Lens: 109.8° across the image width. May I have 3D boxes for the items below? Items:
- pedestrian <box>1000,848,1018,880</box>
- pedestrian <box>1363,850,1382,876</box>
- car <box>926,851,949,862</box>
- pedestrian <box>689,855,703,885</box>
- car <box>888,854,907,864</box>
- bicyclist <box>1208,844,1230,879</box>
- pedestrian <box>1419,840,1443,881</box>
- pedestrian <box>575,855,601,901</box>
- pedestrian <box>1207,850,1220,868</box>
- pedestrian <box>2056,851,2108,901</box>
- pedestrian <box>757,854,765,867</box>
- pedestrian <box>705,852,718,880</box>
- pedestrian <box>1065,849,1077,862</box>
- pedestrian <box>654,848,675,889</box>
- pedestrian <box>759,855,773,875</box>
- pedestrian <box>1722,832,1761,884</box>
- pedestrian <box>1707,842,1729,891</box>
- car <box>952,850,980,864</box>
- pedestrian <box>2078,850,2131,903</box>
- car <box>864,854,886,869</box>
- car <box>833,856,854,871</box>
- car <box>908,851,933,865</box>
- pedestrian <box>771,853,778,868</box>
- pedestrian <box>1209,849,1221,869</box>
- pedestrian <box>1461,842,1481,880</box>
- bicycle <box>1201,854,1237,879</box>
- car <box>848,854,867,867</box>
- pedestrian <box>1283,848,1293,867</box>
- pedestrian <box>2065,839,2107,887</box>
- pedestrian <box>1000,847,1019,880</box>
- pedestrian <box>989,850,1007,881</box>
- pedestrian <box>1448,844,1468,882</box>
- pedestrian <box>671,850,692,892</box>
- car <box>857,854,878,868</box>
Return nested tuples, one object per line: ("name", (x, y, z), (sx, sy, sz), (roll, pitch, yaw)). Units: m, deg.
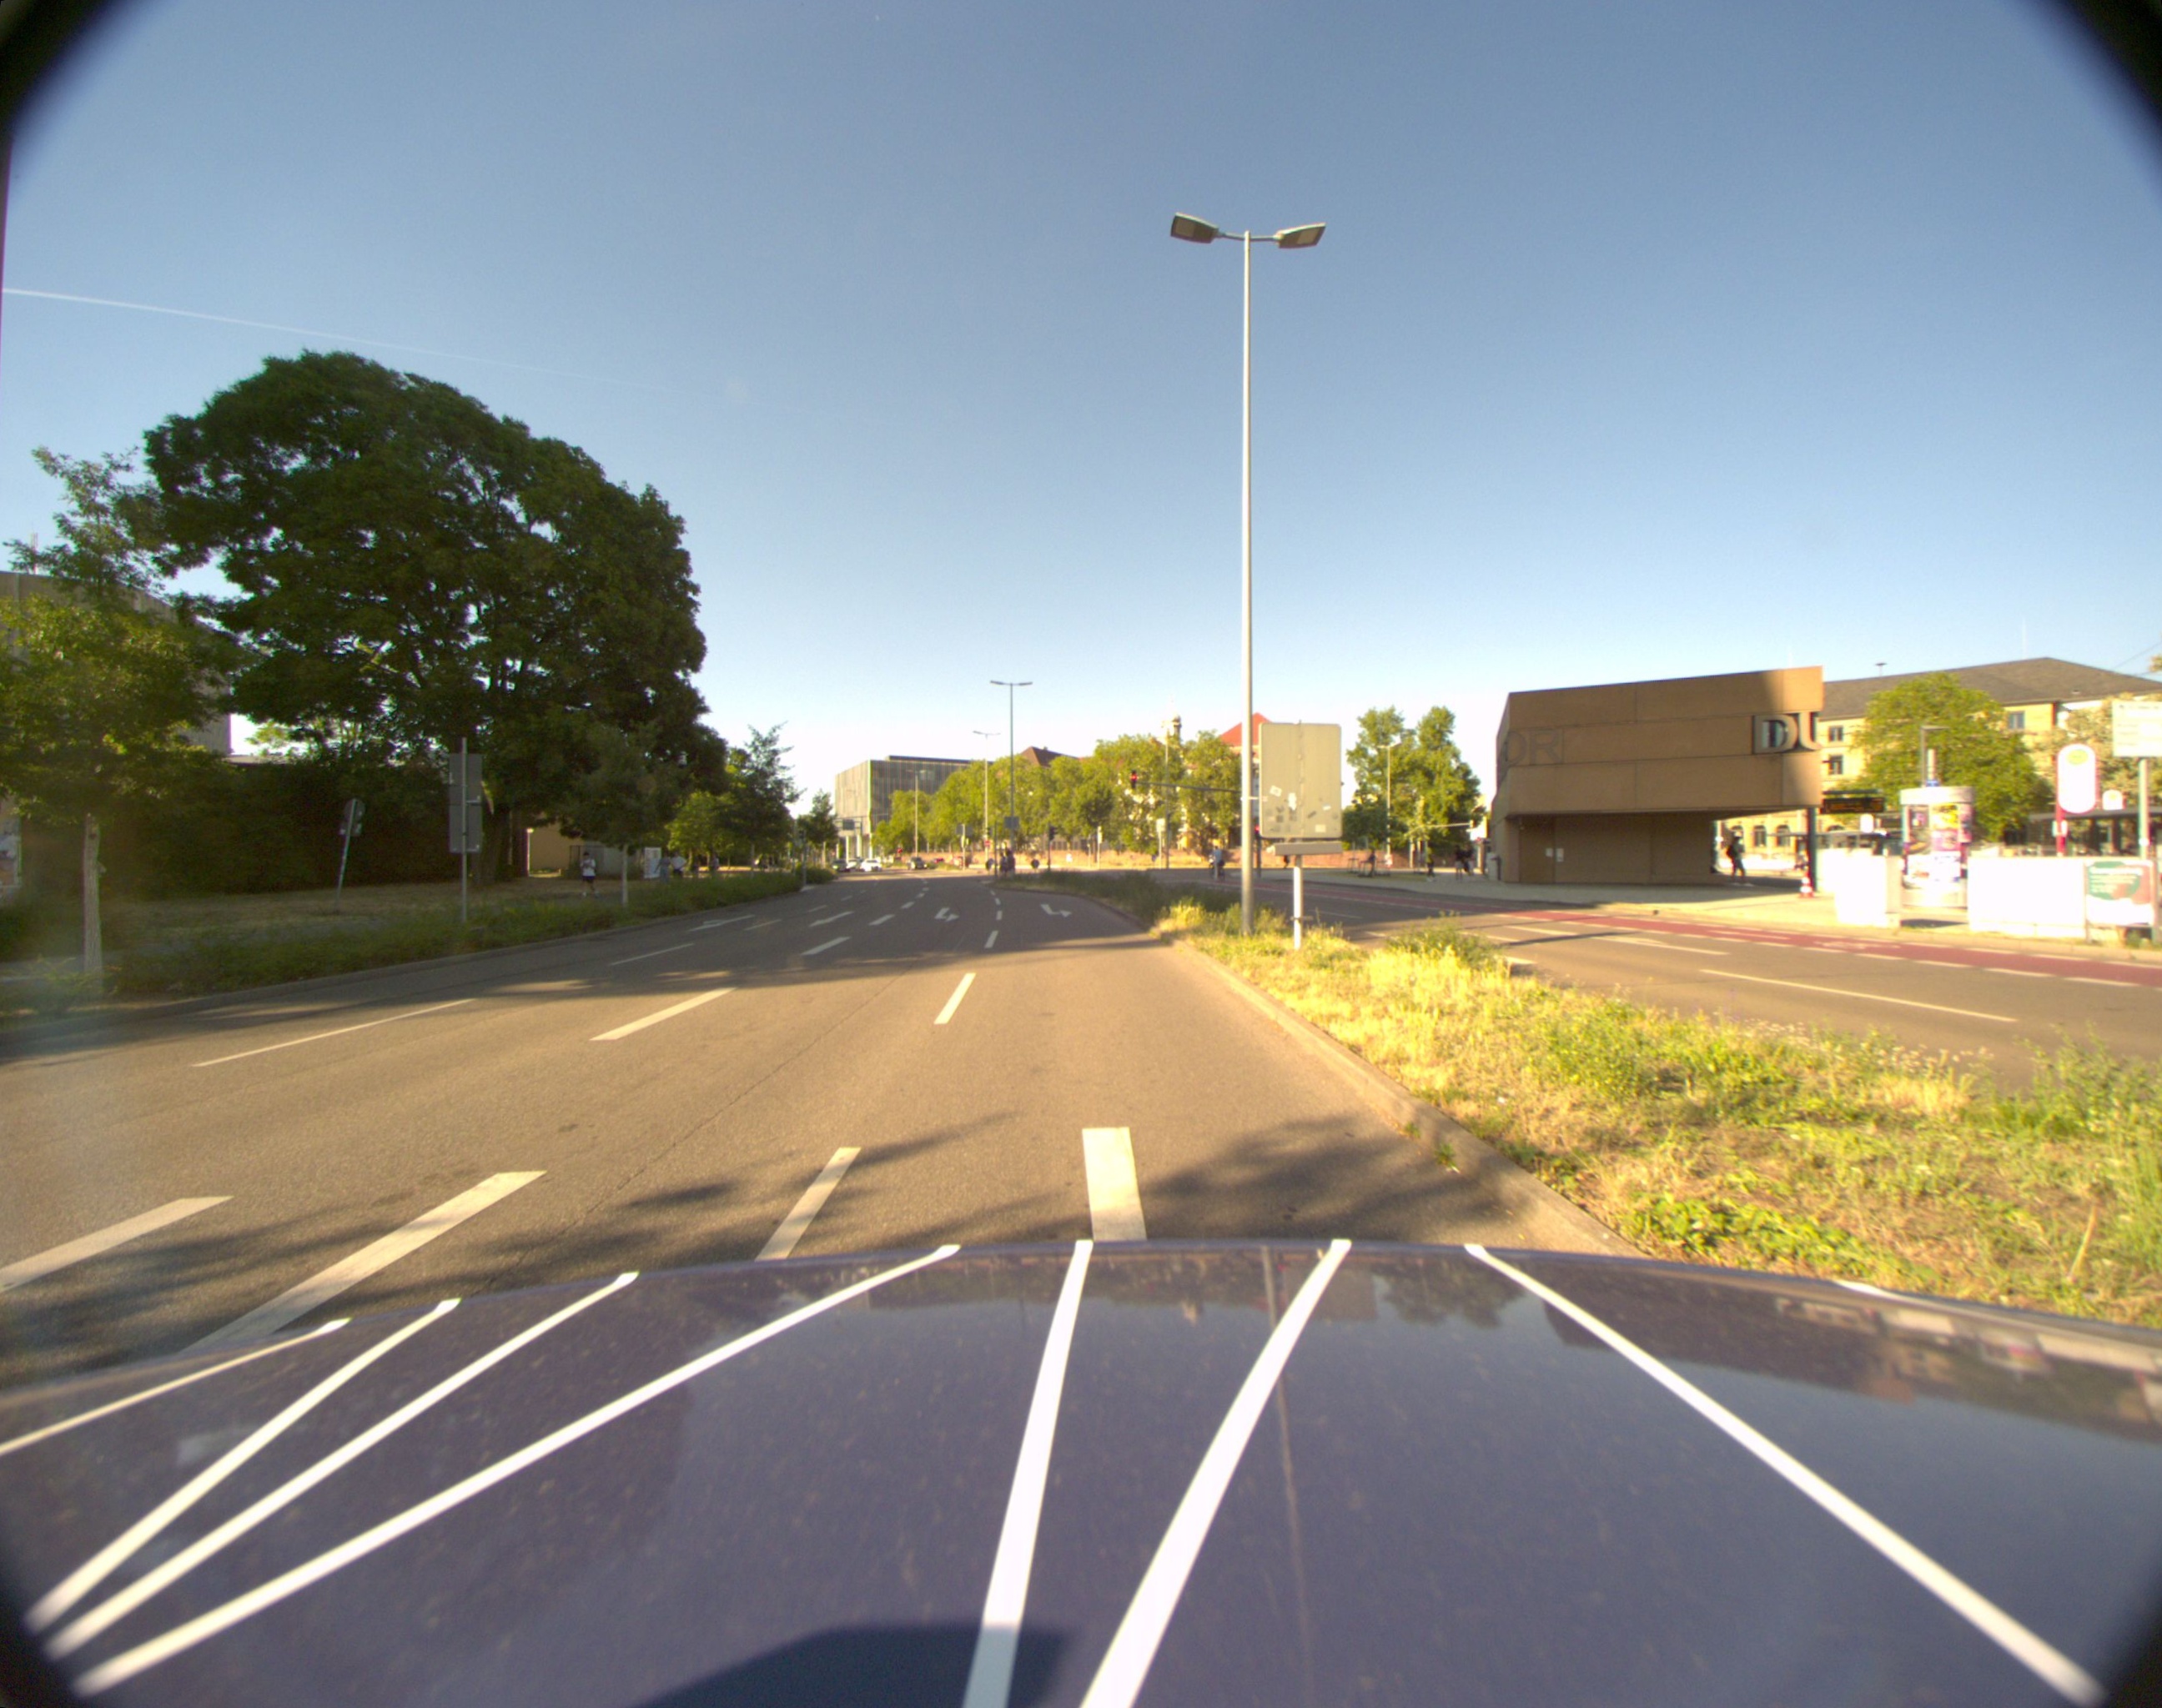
("pedestrian", (-3.935, 0.528, 41.325), (0.928, 1.731, 0.756), (0, 1, -10))
("pedestrian", (19.095, 0.573, 49.713), (0.900, 1.675, 0.747), (-1, 0, -10))
("car", (-20.915, 0.313, 110.527), (2.198, 1.576, 4.597), (-1, 0, -24))
("pedestrian", (-20.373, 0.826, 40.253), (0.623, 1.565, 0.638), (-1, 1, -25))
("car", (-29.829, 0.810, 123.439), (2.198, 1.674, 4.597), (-1, 0, -25))
("bicyclist", (7.279, 0.389, 39.967), (0.743, 1.822, 1.012), (-1, 2, -18))
("pedestrian", (16.027, 0.292, 34.795), (0.718, 1.824, 0.639), (-1, -1, 1))
("pedestrian", (-18.335, 0.873, 28.262), (0.623, 1.689, 0.629), (0, 1, -17))
("pedestrian", (12.170, 0.443, 69.804), (0.873, 1.665, 0.711), (0, 4, -12))
("pedestrian", (40.274, 0.854, 30.578), (0.994, 1.970, 0.830), (1, 0, 28))
("pedestrian", (-37.920, 0.718, 90.092), (0.764, 1.534, 0.845), (0, 1, -31))
("pedestrian", (-22.484, 0.727, 46.240), (0.677, 1.694, 0.875), (-1, 1, -30))
("pedestrian", (-1.150, 0.147, 87.404), (0.975, 1.528, 0.921), (-1, 1, -25))
("pedestrian", (-18.905, 0.654, 34.484), (0.575, 1.858, 0.624), (0, 1, 26))
("pedestrian", (-27.810, 0.938, 67.125), (1.020, 1.739, 0.847), (0, 1, -31))
("pedestrian", (25.467, 0.169, 29.312), (0.978, 1.970, 0.720), (1, 0, 26))
("pedestrian", (26.463, 0.502, 31.563), (0.613, 2.001, 0.809), (-2, -1, 37))
("car", (-14.049, 0.364, 92.587), (2.198, 1.576, 4.597), (-1, 0, -23))
("pedestrian", (39.243, 0.843, 29.137), (0.978, 1.970, 0.720), (1, 0, 28))
("car", (-22.283, 0.772, 82.209), (1.805, 1.510, 4.423), (0, 0, -22))
("car", (-24.938, 0.954, 79.802), (1.805, 1.510, 3.992), (0, 0, -22))
("car", (-17.708, 0.461, 83.702), (1.927, 1.510, 4.010), (0, 0, -22))
("pedestrian", (-35.505, 0.779, 88.088), (0.713, 1.703, 0.732), (-1, 1, -25))
("pedestrian", (12.437, 0.456, 70.638), (0.873, 1.884, 0.711), (0, 4, -12))
("pedestrian", (17.954, 0.329, 34.991), (0.734, 1.720, 0.666), (-2, -1, 25))
("bicycle", (7.244, 0.644, 40.095), (0.743, 1.248, 2.552), (-1, 1, -18))
("car", (-28.002, 0.781, 94.995), (1.927, 1.510, 4.010), (0, 0, -22))
("pedestrian", (18.463, 0.330, 67.716), (0.791, 1.644, 0.713), (2, 4, 17))
("pedestrian", (42.538, 0.372, 32.181), (0.814, 1.970, 0.756), (1, 0, 28))
("pedestrian", (-3.813, 0.504, 40.502), (0.928, 1.731, 0.756), (0, 1, -10))
("pedestrian", (-4.659, 0.622, 42.626), (0.928, 1.731, 0.756), (0, 1, -10))
("pedestrian", (16.965, 0.428, 34.187), (0.638, 1.678, 0.551), (-2, -1, 14))
("pedestrian", (-18.119, 0.754, 34.459), (0.575, 1.858, 0.624), (0, 1, 26))
("car", (-25.056, 0.790, 88.993), (1.927, 1.510, 4.010), (0, 0, -22))
